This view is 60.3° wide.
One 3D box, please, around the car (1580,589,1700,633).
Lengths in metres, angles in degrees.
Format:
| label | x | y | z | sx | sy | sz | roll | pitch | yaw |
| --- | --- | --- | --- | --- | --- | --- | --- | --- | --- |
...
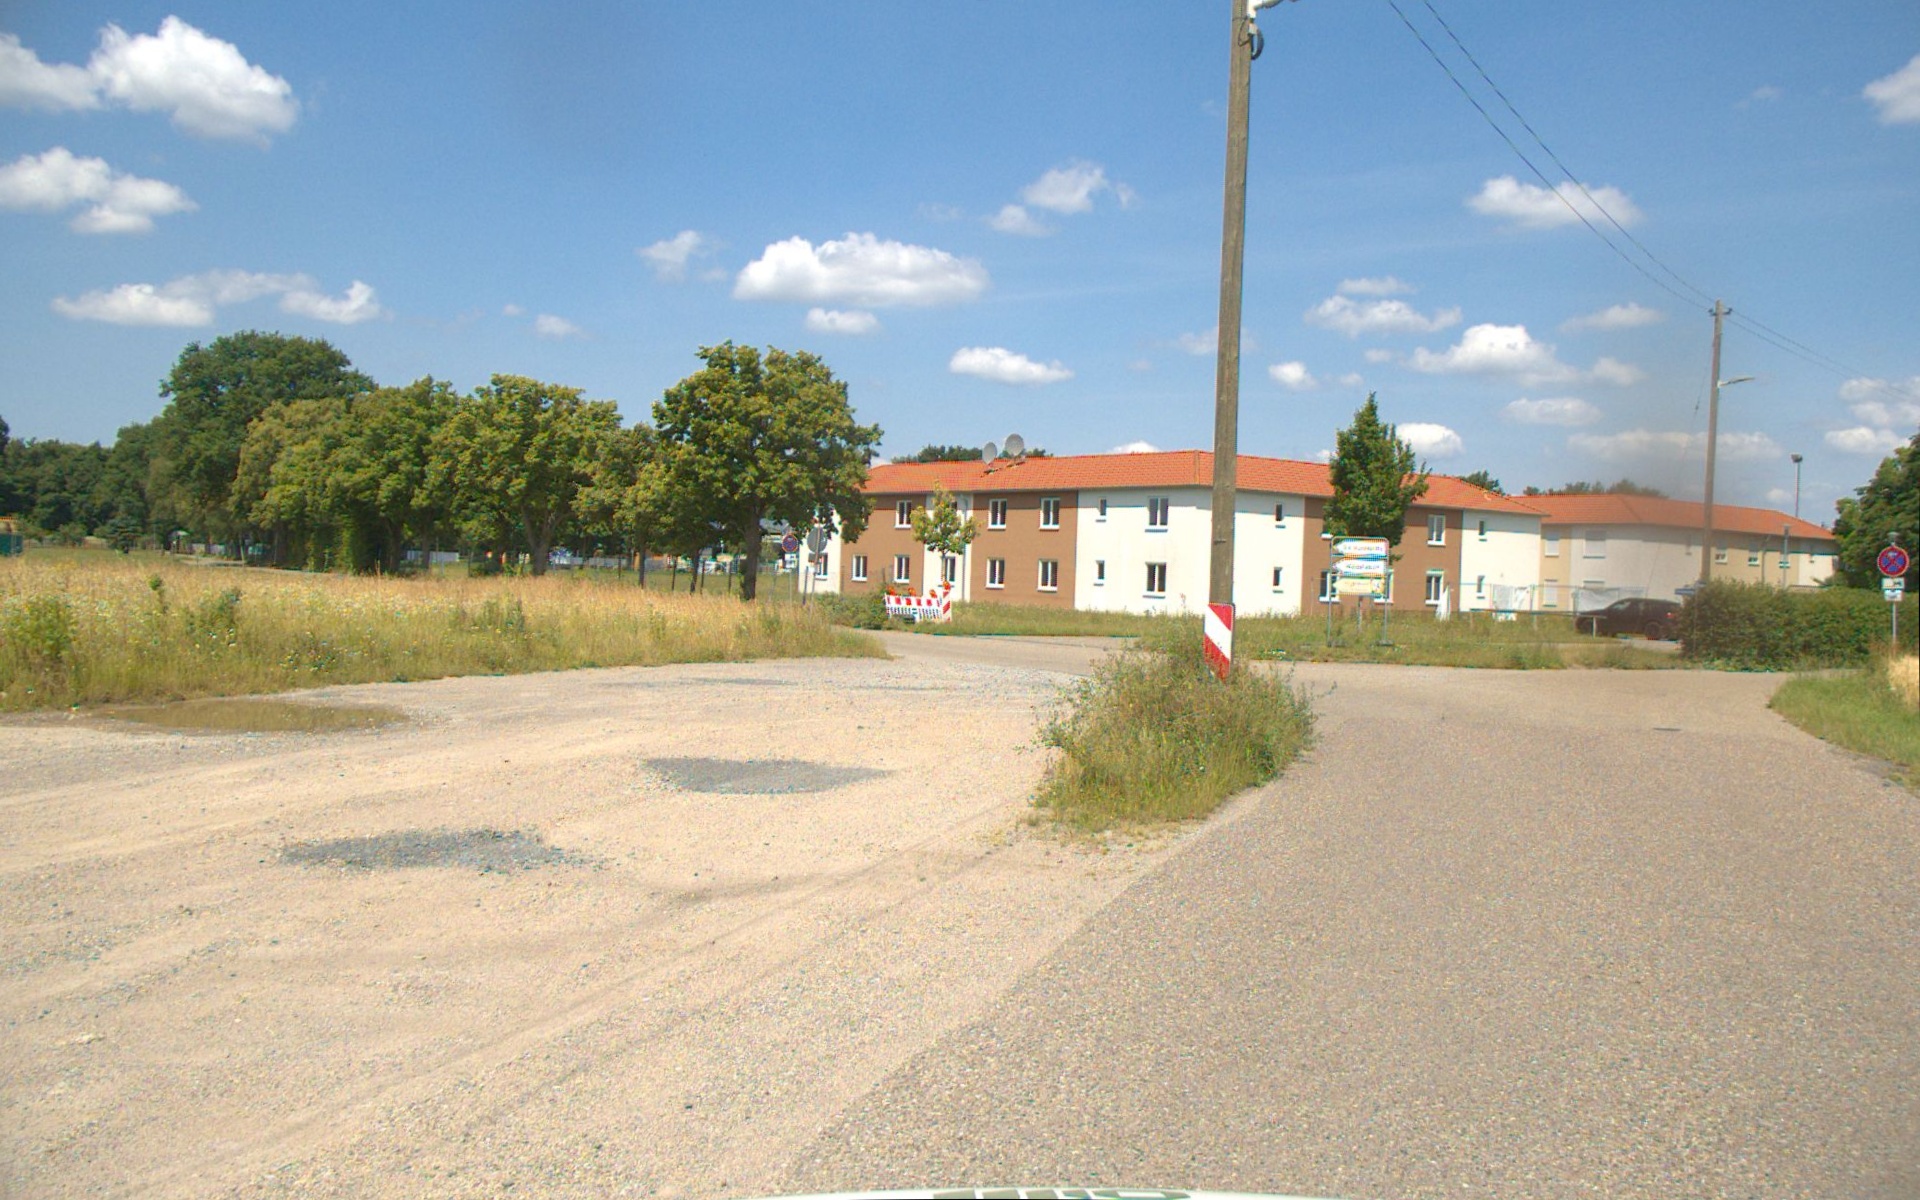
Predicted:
| label | x | y | z | sx | sy | sz | roll | pitch | yaw |
| --- | --- | --- | --- | --- | --- | --- | --- | --- | --- |
| car | 27.861 | 0.437 | 67.882 | 1.980 | 1.643 | 4.092 | 2 | 1 | -38 |
